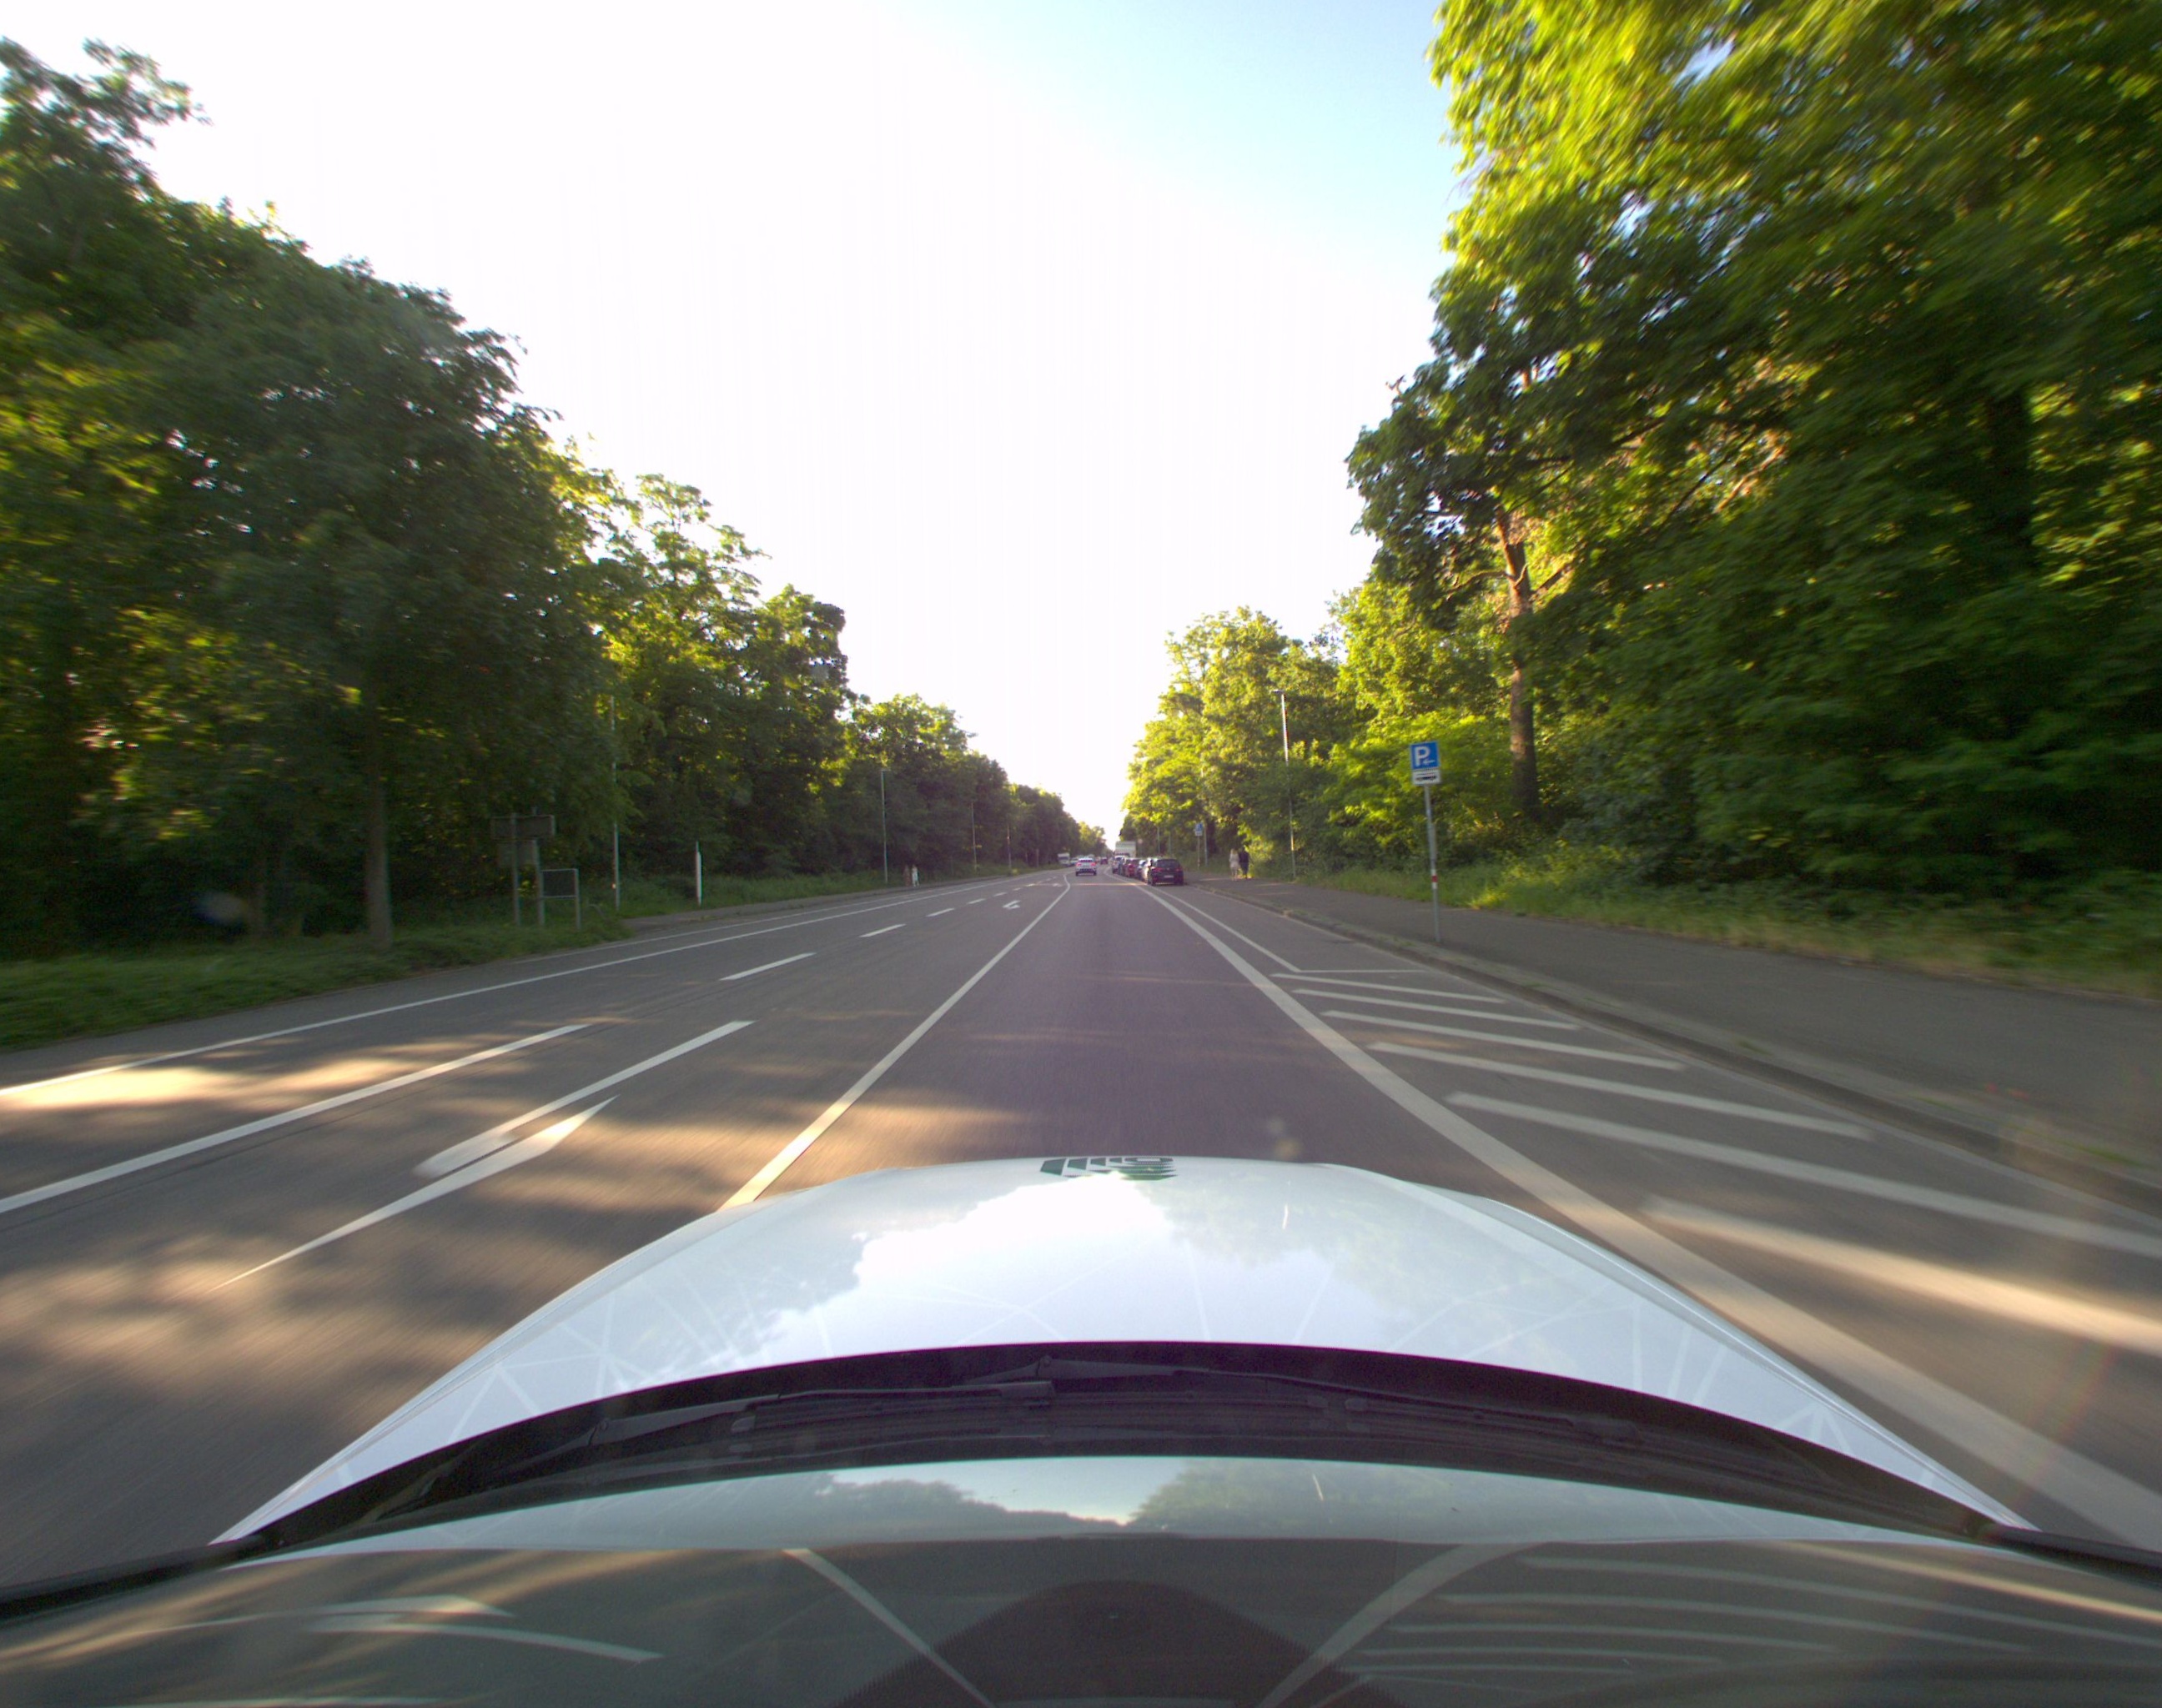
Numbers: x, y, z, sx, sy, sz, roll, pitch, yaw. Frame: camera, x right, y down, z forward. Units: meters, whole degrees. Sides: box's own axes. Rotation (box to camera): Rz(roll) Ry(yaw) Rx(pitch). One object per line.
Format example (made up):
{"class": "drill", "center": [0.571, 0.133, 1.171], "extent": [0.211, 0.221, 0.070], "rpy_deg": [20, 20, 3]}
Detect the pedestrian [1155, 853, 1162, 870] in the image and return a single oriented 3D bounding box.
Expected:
{"class": "pedestrian", "center": [8.659, 0.829, 90.826], "extent": [0.615, 1.764, 0.907], "rpy_deg": [-3, -1, 2]}

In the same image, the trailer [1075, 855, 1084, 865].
{"class": "trailer", "center": [-0.485, 1.625, 214.650], "extent": [1.985, 2.597, 4.419], "rpy_deg": [-5, -1, 3]}

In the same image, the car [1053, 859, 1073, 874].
{"class": "car", "center": [-1.778, 1.253, 82.081], "extent": [1.801, 1.519, 4.503], "rpy_deg": [0, 0, 0]}

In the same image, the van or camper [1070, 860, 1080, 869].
{"class": "van or camper", "center": [-1.377, 2.472, 191.693], "extent": [1.828, 1.911, 4.858], "rpy_deg": [-4, -1, 2]}

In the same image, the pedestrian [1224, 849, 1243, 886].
{"class": "pedestrian", "center": [7.799, 0.687, 41.752], "extent": [0.673, 1.799, 0.789], "rpy_deg": [-4, 0, -3]}

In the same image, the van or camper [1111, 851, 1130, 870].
{"class": "van or camper", "center": [4.306, 0.705, 88.956], "extent": [1.890, 2.013, 4.590], "rpy_deg": [-3, 0, 3]}

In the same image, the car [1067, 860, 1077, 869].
{"class": "car", "center": [-1.694, 1.953, 150.848], "extent": [1.821, 1.476, 4.680], "rpy_deg": [-4, -1, 0]}

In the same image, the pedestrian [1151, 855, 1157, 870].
{"class": "pedestrian", "center": [7.908, 0.955, 88.679], "extent": [0.561, 1.588, 0.482], "rpy_deg": [-3, -1, 2]}

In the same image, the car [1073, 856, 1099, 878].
{"class": "car", "center": [0.487, 1.101, 71.274], "extent": [2.020, 1.840, 4.032], "rpy_deg": [-3, 0, 3]}

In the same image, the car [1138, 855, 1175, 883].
{"class": "car", "center": [4.482, 0.886, 49.161], "extent": [1.732, 1.525, 4.358], "rpy_deg": [-3, 0, -1]}

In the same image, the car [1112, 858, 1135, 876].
{"class": "car", "center": [3.653, 1.074, 71.041], "extent": [1.801, 1.519, 4.503], "rpy_deg": [0, 0, 0]}

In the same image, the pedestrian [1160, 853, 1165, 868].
{"class": "pedestrian", "center": [8.669, 0.646, 86.509], "extent": [0.392, 1.588, 0.482], "rpy_deg": [-3, -1, 2]}

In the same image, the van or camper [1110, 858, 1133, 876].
{"class": "van or camper", "center": [7.127, 2.243, 141.554], "extent": [2.422, 2.800, 6.584], "rpy_deg": [-3, 0, 16]}

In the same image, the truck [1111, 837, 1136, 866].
{"class": "truck", "center": [5.406, -0.263, 104.275], "extent": [2.822, 3.497, 8.581], "rpy_deg": [-3, 0, 2]}

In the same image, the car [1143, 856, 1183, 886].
{"class": "car", "center": [4.440, 0.902, 44.670], "extent": [1.652, 1.452, 4.018], "rpy_deg": [-3, 0, -1]}

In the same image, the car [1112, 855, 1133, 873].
{"class": "car", "center": [3.914, 0.918, 76.566], "extent": [1.791, 1.595, 4.032], "rpy_deg": [-3, 0, 3]}

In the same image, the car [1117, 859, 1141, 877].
{"class": "car", "center": [3.879, 1.093, 66.159], "extent": [1.590, 1.401, 3.796], "rpy_deg": [-1, 0, -2]}

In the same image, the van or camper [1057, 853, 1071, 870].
{"class": "van or camper", "center": [-3.184, 1.403, 157.876], "extent": [2.307, 2.970, 7.110], "rpy_deg": [-5, -1, 0]}

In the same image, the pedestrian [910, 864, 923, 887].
{"class": "pedestrian", "center": [-12.380, 1.600, 61.134], "extent": [0.671, 1.653, 0.791], "rpy_deg": [-3, -1, 7]}

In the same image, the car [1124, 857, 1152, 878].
{"class": "car", "center": [4.227, 0.972, 60.388], "extent": [1.613, 1.469, 3.720], "rpy_deg": [0, 0, -3]}

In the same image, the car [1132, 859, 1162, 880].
{"class": "car", "center": [4.411, 1.013, 54.625], "extent": [1.623, 1.319, 3.839], "rpy_deg": [-2, 0, -1]}

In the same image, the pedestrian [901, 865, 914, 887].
{"class": "pedestrian", "center": [-13.062, 1.637, 61.196], "extent": [0.671, 1.653, 0.791], "rpy_deg": [-3, -1, 7]}

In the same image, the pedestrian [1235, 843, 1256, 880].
{"class": "pedestrian", "center": [8.444, 0.375, 41.827], "extent": [0.673, 1.799, 0.952], "rpy_deg": [-4, 0, -3]}
